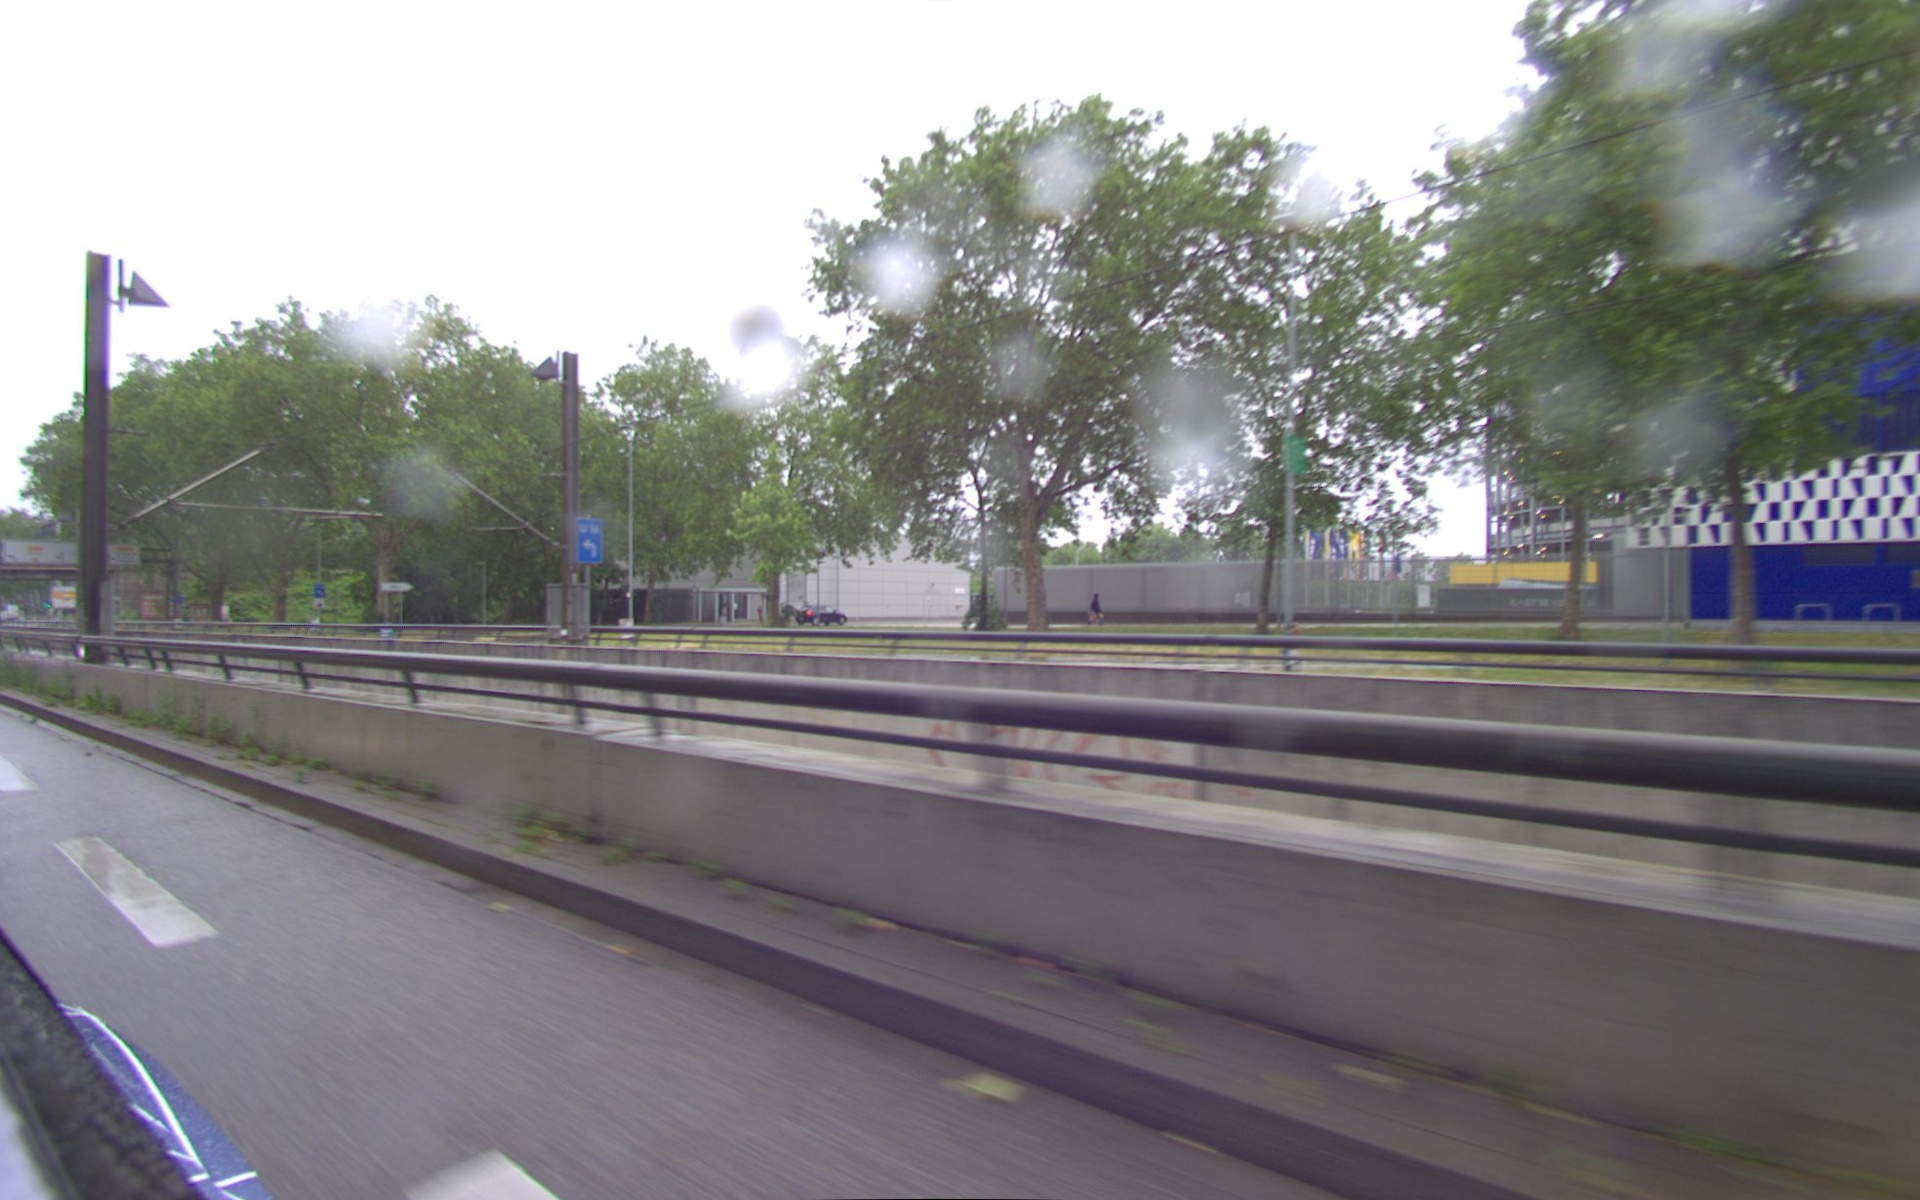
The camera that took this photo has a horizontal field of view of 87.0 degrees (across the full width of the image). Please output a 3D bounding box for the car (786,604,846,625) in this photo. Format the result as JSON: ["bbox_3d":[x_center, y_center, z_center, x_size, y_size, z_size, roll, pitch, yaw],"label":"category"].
[{"bbox_3d":[-10.173,0.994,71.786,3.735,1.414,2.003,0,-1,-41],"label":"car"}]

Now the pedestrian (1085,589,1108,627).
[{"bbox_3d":[7.471,0.449,55.427,0.790,2.029,0.991,-1,1,41],"label":"pedestrian"}]
